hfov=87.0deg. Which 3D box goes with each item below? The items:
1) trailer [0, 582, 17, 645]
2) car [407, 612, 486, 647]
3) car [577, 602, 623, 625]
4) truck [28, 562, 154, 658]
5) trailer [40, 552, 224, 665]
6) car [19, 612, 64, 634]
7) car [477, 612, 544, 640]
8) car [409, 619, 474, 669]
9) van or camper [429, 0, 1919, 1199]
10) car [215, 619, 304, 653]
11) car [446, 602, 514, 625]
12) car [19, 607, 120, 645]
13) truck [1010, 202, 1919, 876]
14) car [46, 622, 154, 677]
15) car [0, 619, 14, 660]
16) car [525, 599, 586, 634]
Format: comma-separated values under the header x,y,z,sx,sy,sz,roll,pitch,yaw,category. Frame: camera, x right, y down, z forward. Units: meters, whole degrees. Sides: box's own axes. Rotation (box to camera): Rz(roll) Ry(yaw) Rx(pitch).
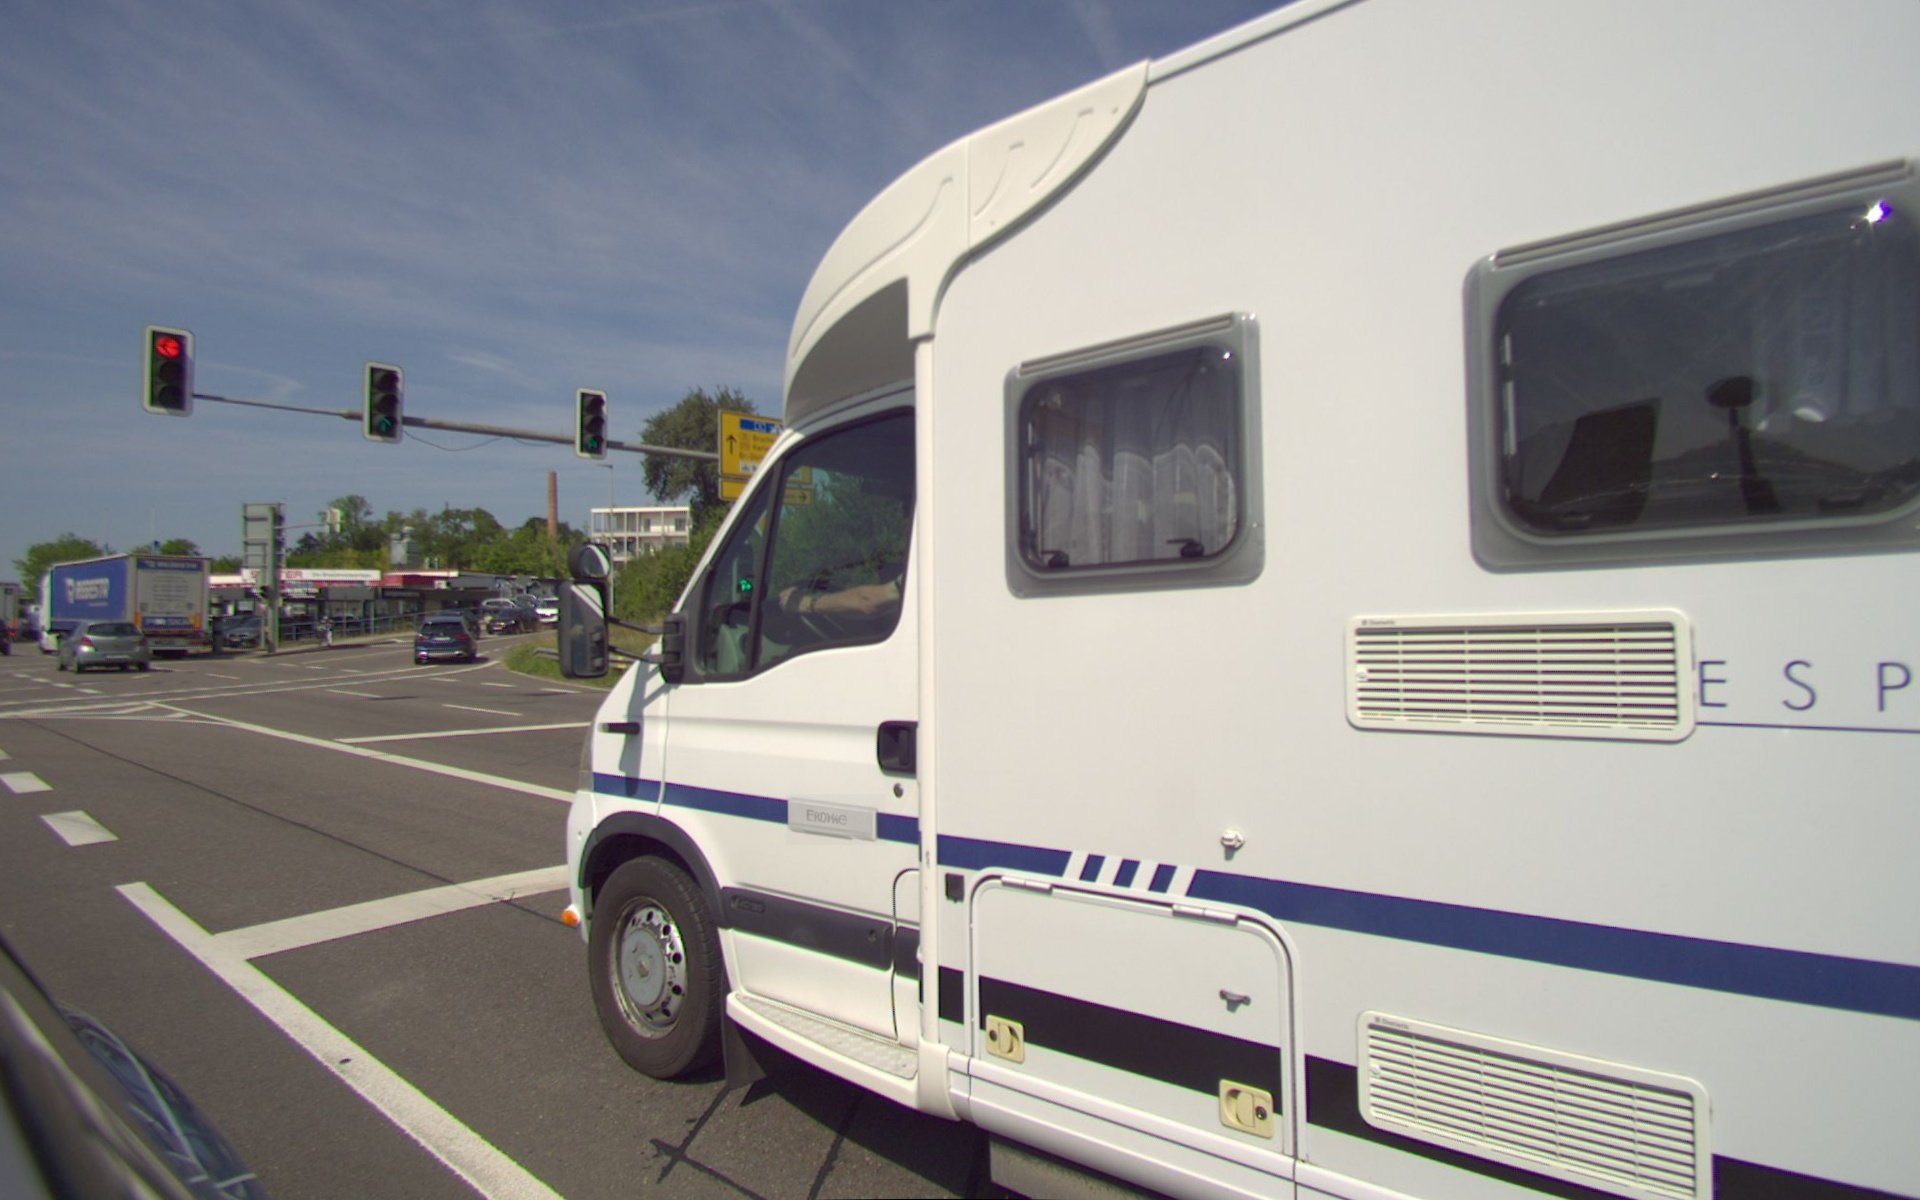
x,y,z,sx,sy,sz,roll,pitch,yaw,category
-69.022,0.983,70.567,13.861,4.179,2.665,-1,-2,38,trailer
-26.299,1.479,52.005,1.887,1.539,4.640,-1,1,-3,car
-26.769,1.007,75.394,1.971,1.574,4.512,0,1,-2,car
-40.027,0.511,46.574,6.337,4.111,3.157,-1,-2,38,truck
-35.164,0.448,42.627,14.110,4.111,3.063,-1,-2,39,trailer
-106.903,2.673,117.855,2.399,2.563,6.060,0,-1,-28,car
-26.467,1.518,59.773,1.921,1.429,4.977,0,1,-3,car
-18.902,1.575,36.875,1.965,1.689,4.321,1,-2,-28,car
1.549,0.083,2.284,6.971,2.620,2.307,-1,-2,39,van or camper
-39.544,1.992,57.285,1.863,1.638,4.744,-1,1,-2,car
-35.151,0.976,74.160,4.013,1.574,2.000,0,0,0,car
-67.420,1.976,76.682,2.177,2.794,5.504,-1,-2,44,car
5.048,-0.313,8.390,9.612,4.029,2.701,-1,-2,40,truck
-25.088,1.408,29.482,3.996,1.513,1.708,-1,-3,40,car
-42.341,1.689,43.590,3.999,1.739,1.972,-1,-2,42,car
-26.631,1.069,66.830,2.038,2.057,5.519,-1,1,-3,car
